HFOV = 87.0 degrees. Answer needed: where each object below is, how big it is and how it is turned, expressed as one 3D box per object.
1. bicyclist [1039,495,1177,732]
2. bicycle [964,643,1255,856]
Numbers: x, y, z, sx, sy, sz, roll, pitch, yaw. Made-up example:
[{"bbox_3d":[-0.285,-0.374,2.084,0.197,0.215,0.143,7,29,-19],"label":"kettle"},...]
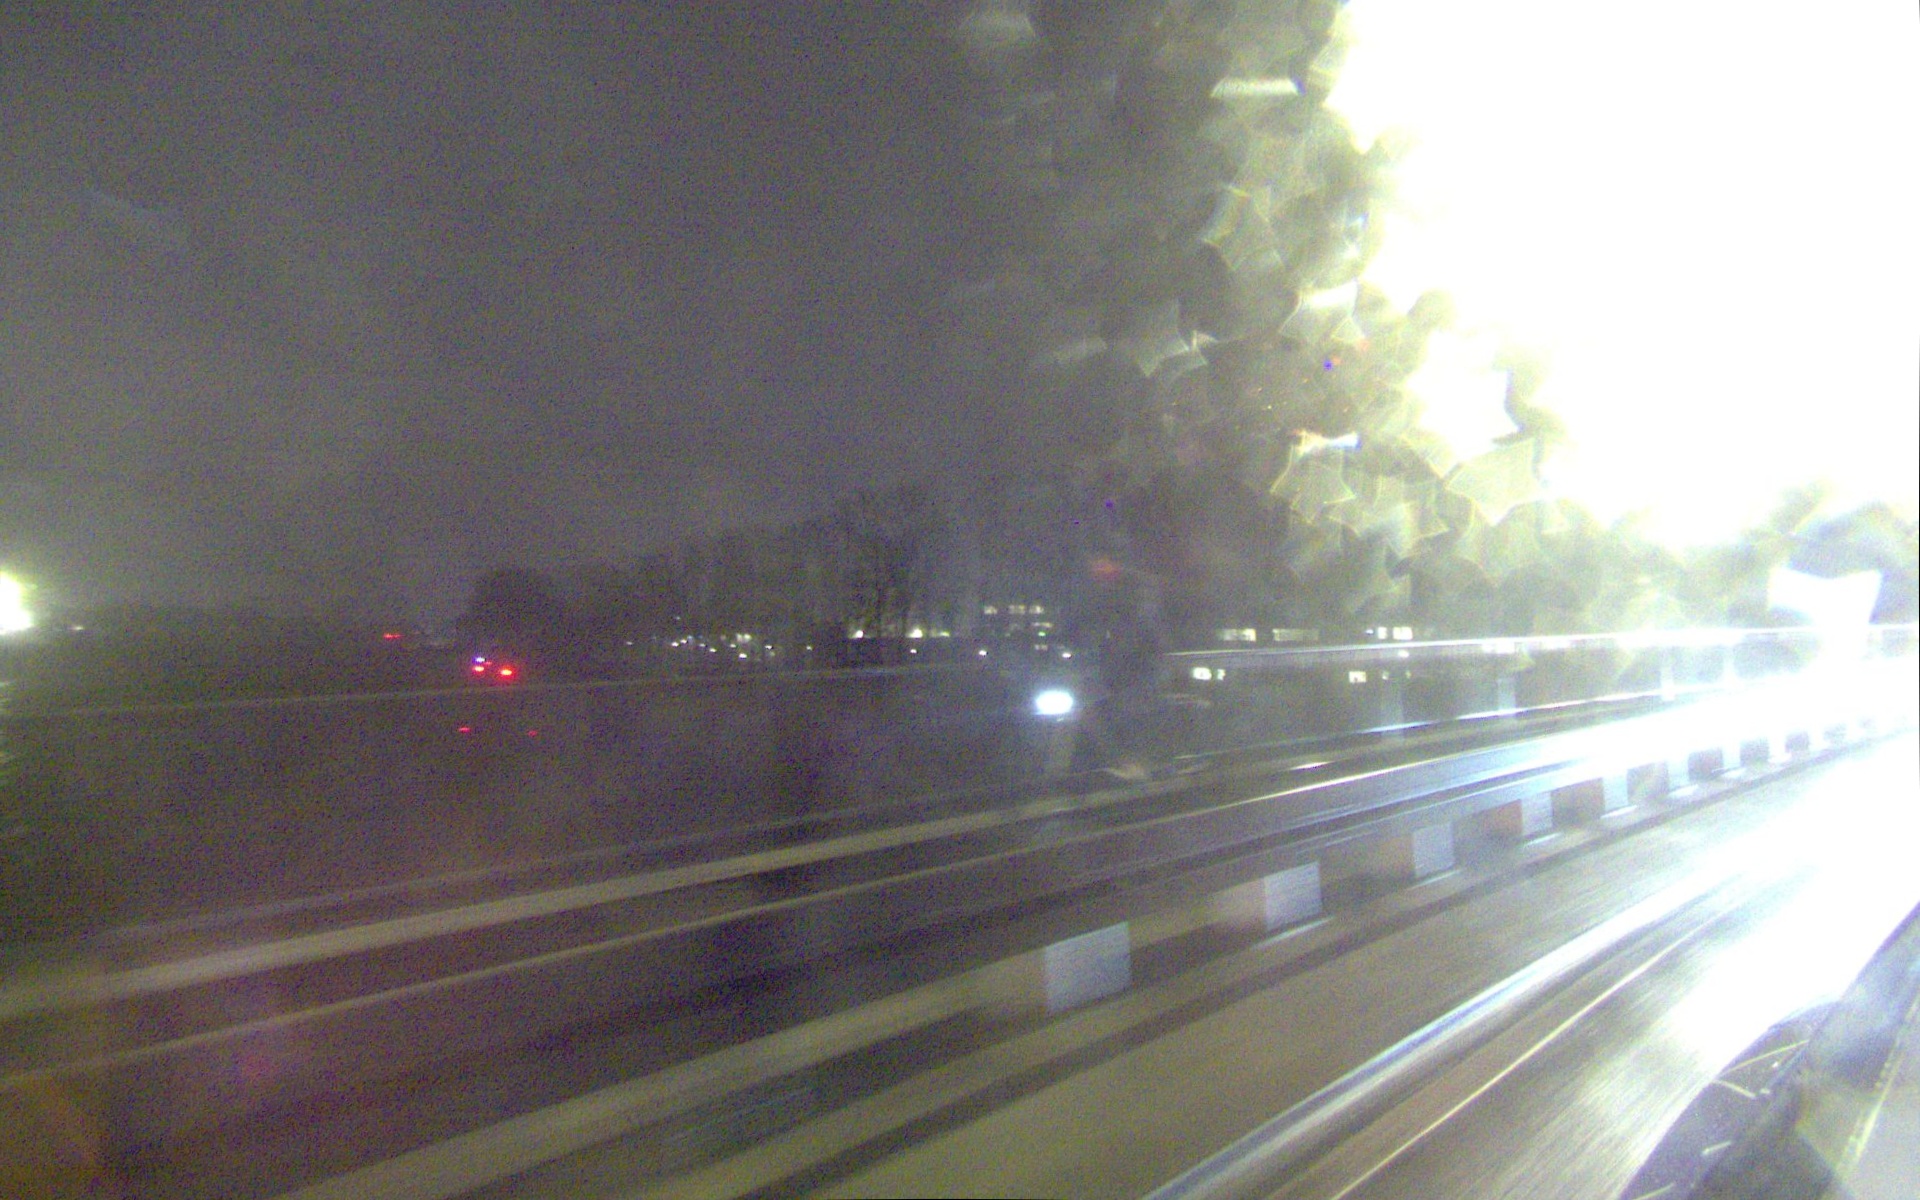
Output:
[{"bbox_3d":[0.914,0.077,6.233,0.750,1.366,0.453,0,-1,-38],"label":"bicyclist"},{"bbox_3d":[1.000,0.839,6.300,2.133,1.047,0.485,-1,0,-39],"label":"bicycle"}]
